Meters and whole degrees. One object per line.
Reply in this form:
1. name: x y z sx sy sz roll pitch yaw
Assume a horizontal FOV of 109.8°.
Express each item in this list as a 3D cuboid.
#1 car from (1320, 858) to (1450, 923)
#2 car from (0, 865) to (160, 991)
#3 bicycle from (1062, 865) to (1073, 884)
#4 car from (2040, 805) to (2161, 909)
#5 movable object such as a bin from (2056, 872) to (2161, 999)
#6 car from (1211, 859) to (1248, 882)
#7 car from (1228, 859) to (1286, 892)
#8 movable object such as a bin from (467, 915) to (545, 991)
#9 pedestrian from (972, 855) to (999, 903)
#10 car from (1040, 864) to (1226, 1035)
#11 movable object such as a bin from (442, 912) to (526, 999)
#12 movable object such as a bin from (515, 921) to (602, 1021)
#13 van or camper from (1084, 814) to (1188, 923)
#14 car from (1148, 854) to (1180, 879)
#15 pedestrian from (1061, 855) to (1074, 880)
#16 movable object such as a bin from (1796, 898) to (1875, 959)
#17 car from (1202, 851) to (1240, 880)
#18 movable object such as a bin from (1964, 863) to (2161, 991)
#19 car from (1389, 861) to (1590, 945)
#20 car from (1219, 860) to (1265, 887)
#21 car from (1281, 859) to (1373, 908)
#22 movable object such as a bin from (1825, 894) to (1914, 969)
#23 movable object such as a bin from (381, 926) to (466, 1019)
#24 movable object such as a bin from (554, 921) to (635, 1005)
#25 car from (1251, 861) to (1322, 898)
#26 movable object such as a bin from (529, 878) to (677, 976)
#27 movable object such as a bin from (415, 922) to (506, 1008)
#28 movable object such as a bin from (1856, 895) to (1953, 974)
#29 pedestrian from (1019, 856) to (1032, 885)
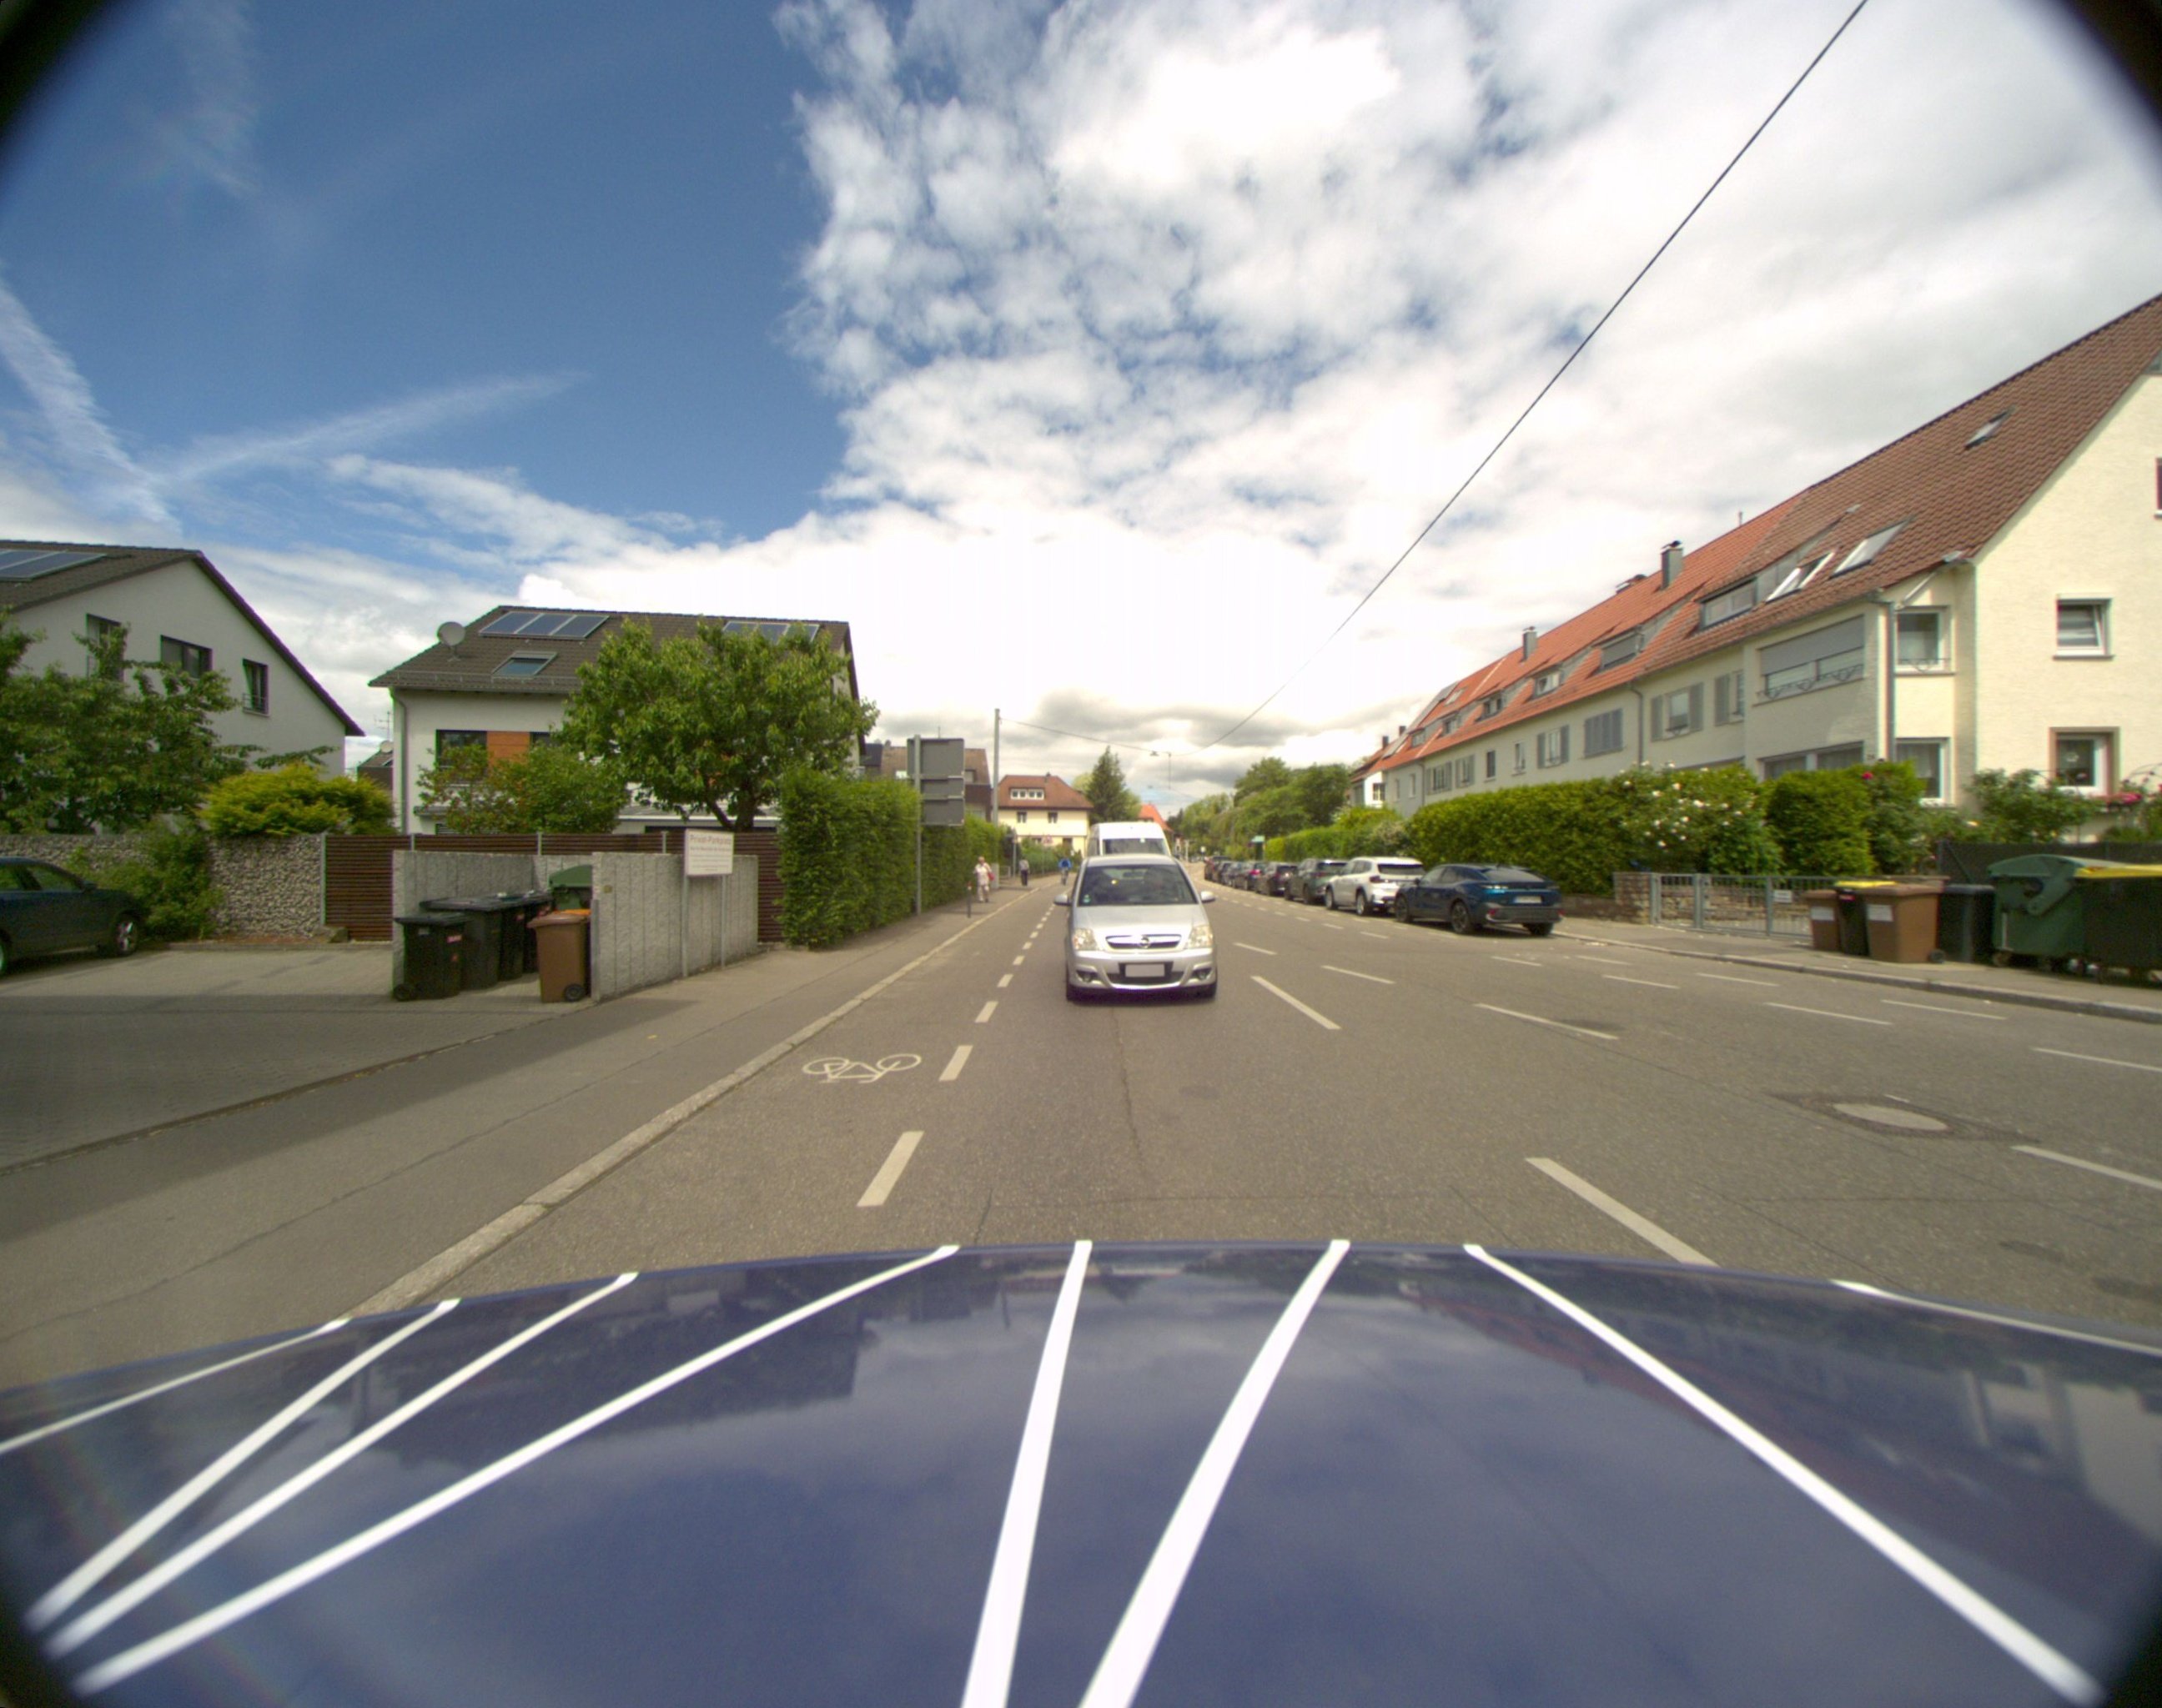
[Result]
1. car: 8.537 0.944 21.836 1.998 1.641 4.517 0 0 1
2. car: -14.683 0.942 9.995 1.790 1.527 3.789 0 0 -25
3. bicycle: -0.830 1.234 46.139 0.536 1.039 2.409 -1 0 2
4. car: 19.615 0.007 13.055 3.997 1.696 1.803 -1 0 0
5. movable object such as a bin: 11.827 0.862 8.185 1.067 1.305 1.214 0 0 2
6. car: 9.471 1.020 48.832 1.782 1.409 4.340 0 0 3
7. car: 8.781 1.039 38.242 1.782 1.483 4.565 0 0 -1
8. movable object such as a bin: -7.419 1.261 9.829 0.635 0.887 0.539 -1 0 -16
9. pedestrian: -3.239 0.846 25.876 0.800 1.608 0.653 1 1 2
10. car: 0.651 0.940 9.344 1.707 1.531 4.332 -2 0 4
11. movable object such as a bin: -7.282 1.223 9.295 0.629 0.962 0.539 -1 0 -16
12. movable object such as a bin: -5.607 1.236 8.188 0.534 0.945 0.686 -1 0 -13
13. van or camper: 1.335 0.413 21.214 2.030 2.564 5.921 -2 -1 -4
14. car: 6.159 0.900 56.020 1.931 1.771 4.003 -2 0 12
15. pedestrian: -0.816 0.791 46.134 0.736 1.508 0.872 -1 0 1
16. movable object such as a bin: 11.530 1.123 11.626 0.597 0.874 0.614 0 0 1
17. car: 9.911 0.792 54.134 1.998 1.884 5.405 2 0 4
18. movable object such as a bin: 12.198 0.855 9.427 1.068 1.473 1.214 0 0 -1
19. car: 8.736 0.957 16.811 1.999 1.578 4.488 0 0 -1
20. car: 9.162 1.067 43.536 1.782 1.409 4.440 0 0 2
21. car: 8.677 0.993 27.248 1.998 1.555 4.690 0 0 3
22. movable object such as a bin: 11.370 1.100 10.973 0.597 1.018 0.658 0 0 1
23. movable object such as a bin: -7.075 1.258 8.197 0.494 0.907 0.539 -1 0 -16
24. movable object such as a bin: -5.712 1.265 8.948 0.533 0.887 0.679 -1 0 -5
25. car: 8.757 1.048 32.791 1.998 1.400 4.690 0 0 3
26. movable object such as a bin: -6.921 1.019 11.118 1.192 1.255 1.535 -1 0 -2
27. movable object such as a bin: -7.132 1.257 8.763 0.635 0.887 0.539 -1 0 -16
28. movable object such as a bin: 11.147 1.076 10.306 0.597 1.001 0.658 0 0 1
29. pedestrian: -3.099 0.912 42.382 0.604 1.596 0.836 2 1 2
